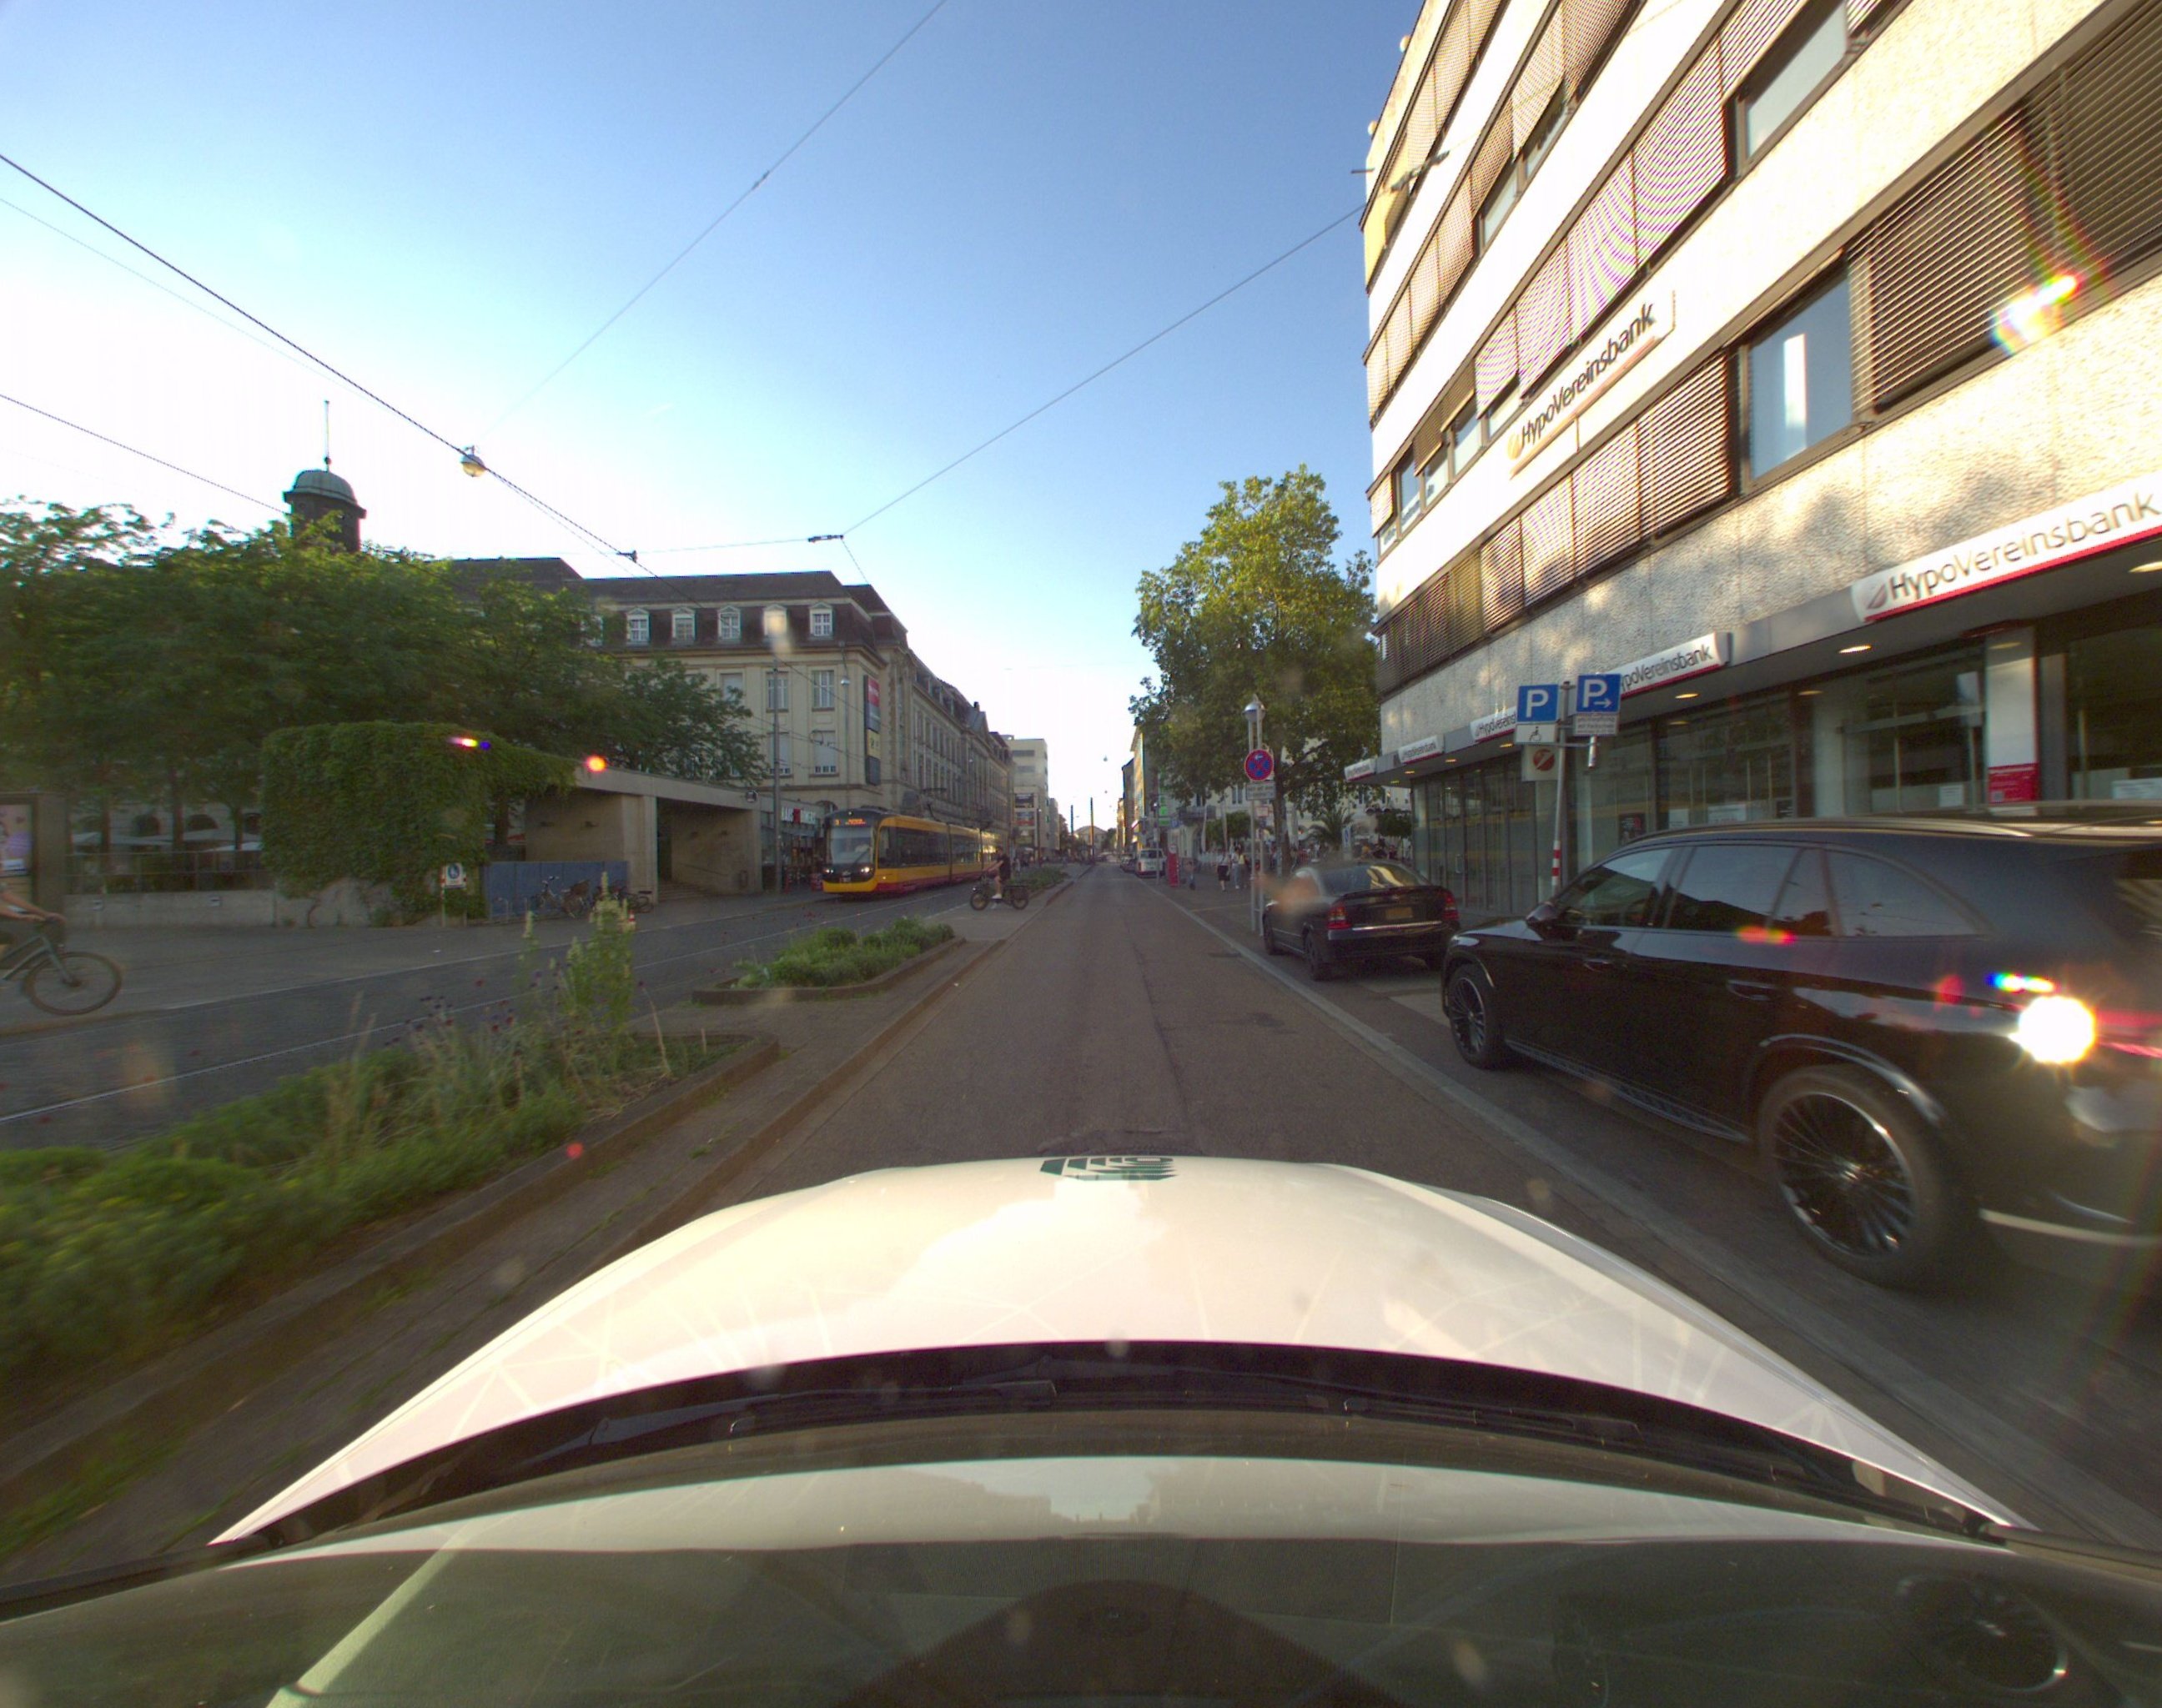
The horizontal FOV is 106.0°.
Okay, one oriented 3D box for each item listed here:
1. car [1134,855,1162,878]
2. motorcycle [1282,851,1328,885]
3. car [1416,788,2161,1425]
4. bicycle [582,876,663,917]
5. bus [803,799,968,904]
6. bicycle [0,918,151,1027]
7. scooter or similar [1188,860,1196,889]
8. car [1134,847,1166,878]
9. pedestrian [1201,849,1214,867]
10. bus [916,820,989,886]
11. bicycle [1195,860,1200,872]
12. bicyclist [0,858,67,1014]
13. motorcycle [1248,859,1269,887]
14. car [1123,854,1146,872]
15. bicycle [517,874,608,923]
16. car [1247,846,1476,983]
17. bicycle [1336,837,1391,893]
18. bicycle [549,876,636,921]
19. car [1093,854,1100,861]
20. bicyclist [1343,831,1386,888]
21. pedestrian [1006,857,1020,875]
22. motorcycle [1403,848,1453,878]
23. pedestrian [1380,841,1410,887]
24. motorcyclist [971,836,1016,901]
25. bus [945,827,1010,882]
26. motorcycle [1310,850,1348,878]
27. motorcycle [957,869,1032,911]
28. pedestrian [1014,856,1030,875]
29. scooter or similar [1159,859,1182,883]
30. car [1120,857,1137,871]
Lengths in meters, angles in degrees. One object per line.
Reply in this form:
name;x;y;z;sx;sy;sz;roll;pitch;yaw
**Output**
car;5.334;1.011;65.632;1.986;1.667;4.422;-2;-1;1
motorcycle;9.737;0.617;35.475;0.567;1.423;2.278;-1;0;-24
car;3.523;0.538;4.204;1.769;1.538;4.579;-2;1;1
bicycle;-14.640;1.340;26.009;2.233;1.232;0.585;-2;-1;1
bus;-8.123;-0.074;37.448;2.811;3.651;17.079;-2;0;2
bicycle;-11.759;1.314;8.968;1.946;1.112;0.455;0;-2;-39
scooter or similar;4.799;0.864;35.219;0.313;1.221;1.275;-1;0;9
car;4.706;0.598;56.055;1.908;1.981;4.422;-2;-1;1
pedestrian;9.337;0.324;60.208;0.820;1.306;0.869;-2;-2;1
bus;-7.714;-0.025;50.120;2.812;3.625;8.292;-2;-1;2
bicycle;8.848;0.896;61.884;0.249;0.902;1.374;-2;-2;2
bicyclist;-11.802;0.891;8.945;0.708;1.668;0.621;0;-3;-40
motorcycle;7.542;0.782;34.657;0.453;1.157;2.032;-1;0;2
car;5.278;0.902;80.929;1.986;1.761;4.422;-2;-1;1
bicycle;-14.512;1.249;22.809;2.189;1.300;0.580;-2;-2;1
car;3.536;0.672;11.151;1.649;1.380;4.342;-5;0;2
bicycle;9.096;0.338;26.186;2.381;1.740;0.596;-1;0;-43
bicycle;-14.591;1.324;24.336;2.233;1.255;0.580;-2;-2;1
car;4.313;0.955;224.585;1.754;1.827;3.571;-2;-2;1
bicyclist;9.107;0.170;26.168;0.937;1.776;0.959;-1;-1;-43
pedestrian;-5.682;1.015;67.727;0.750;1.514;0.868;-4;-3;45
motorcycle;15.030;0.389;35.319;0.565;1.282;1.936;0;0;-35
pedestrian;11.892;0.383;30.877;0.828;1.724;0.651;0;-3;-37
motorcyclist;-2.513;0.430;23.402;1.007;1.813;0.951;-1;-2;-25
bus;-7.390;0.130;60.175;2.812;3.612;11.826;-2;-1;2
motorcycle;10.836;0.436;35.647;0.553;1.150;1.783;-1;1;-24
motorcycle;-2.480;1.023;23.395;2.054;1.123;0.563;-1;-2;-26
pedestrian;-4.878;0.955;67.228;0.710;1.514;1.043;-4;-3;44
scooter or similar;4.722;0.918;42.950;1.120;1.216;0.300;-3;-1;2
car;6.207;1.282;106.939;1.986;1.667;4.421;-2;-2;1
